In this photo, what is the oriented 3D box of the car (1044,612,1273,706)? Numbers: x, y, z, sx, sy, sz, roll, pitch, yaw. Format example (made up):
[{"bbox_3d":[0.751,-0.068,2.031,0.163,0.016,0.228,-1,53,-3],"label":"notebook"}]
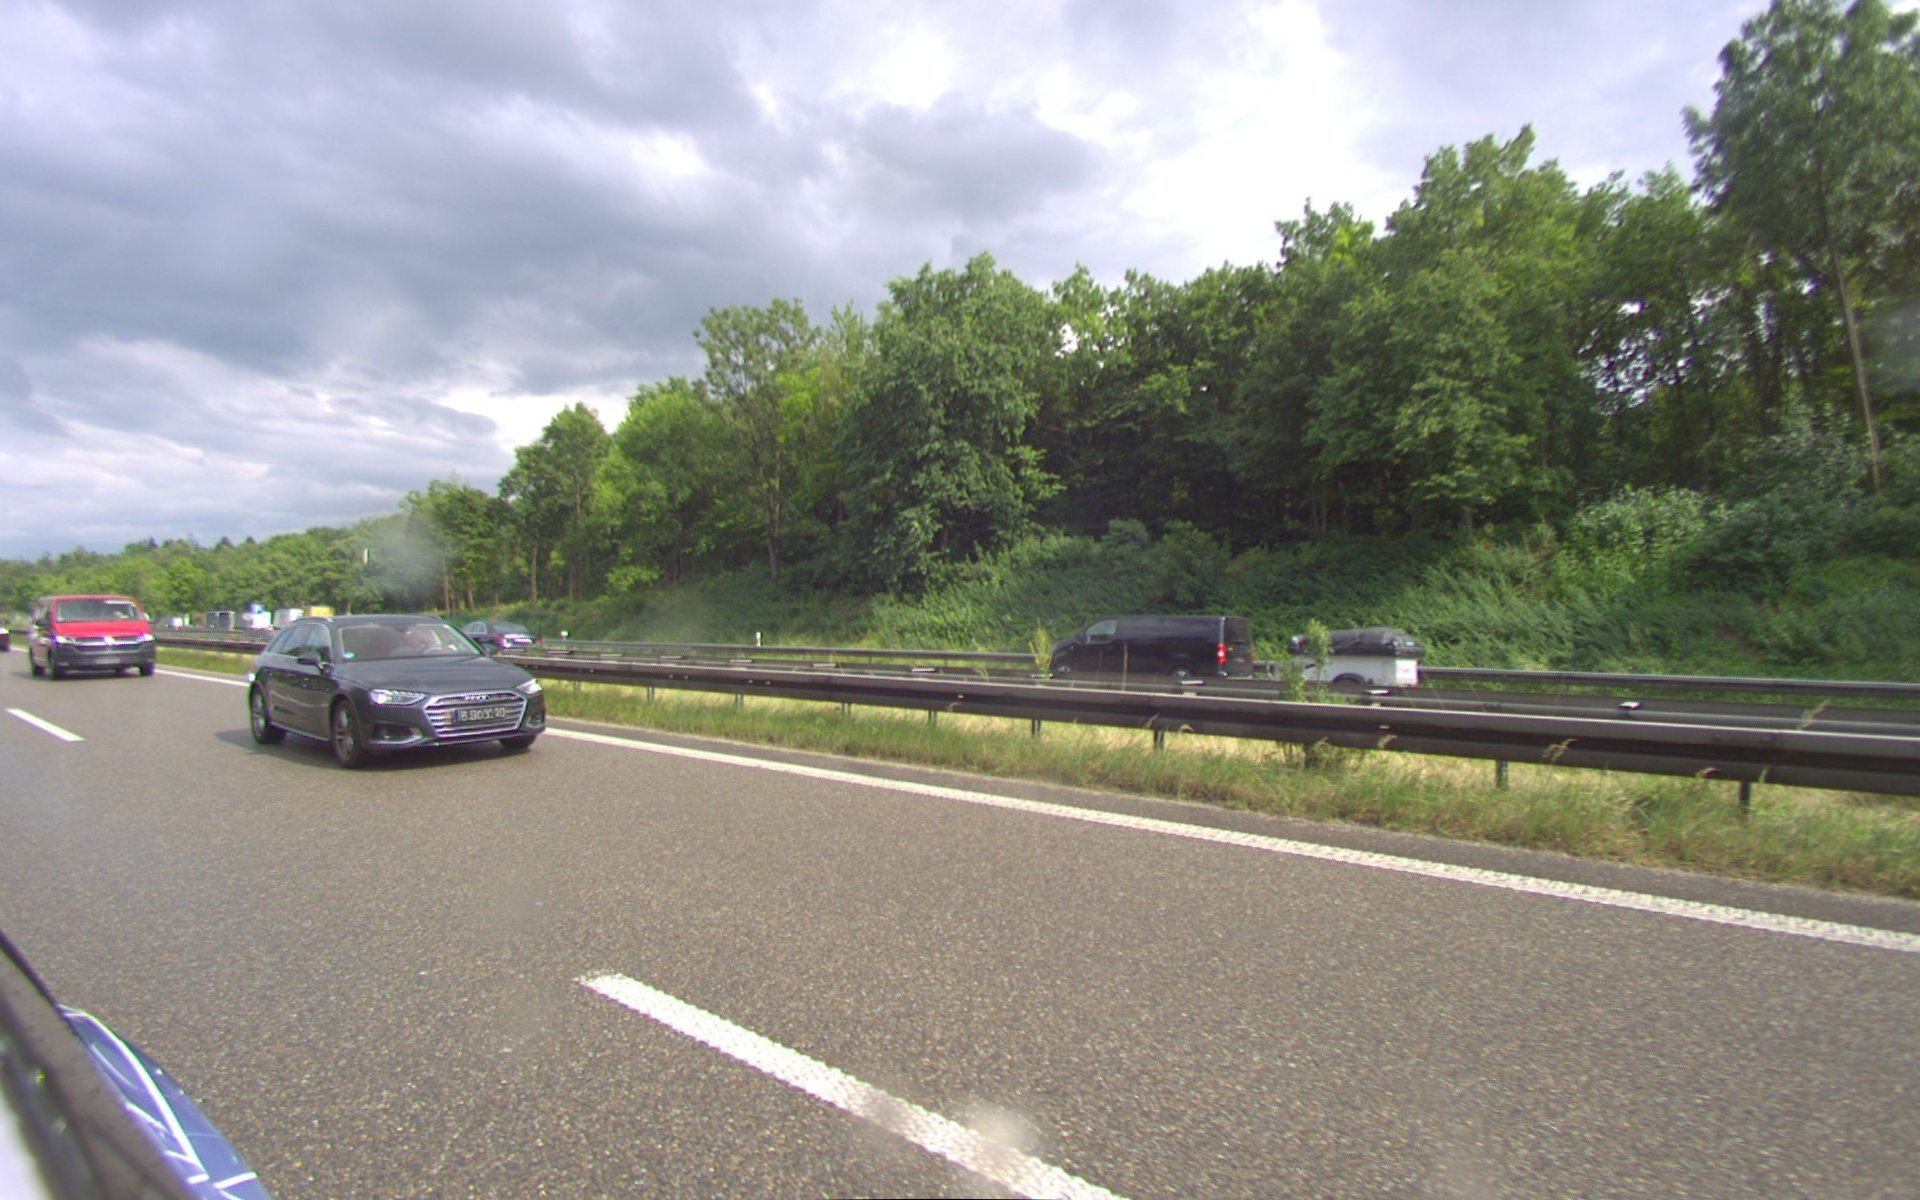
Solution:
[{"bbox_3d":[4.682,1.308,24.388,5.137,2.029,1.973,-1,0,41],"label":"car"}]

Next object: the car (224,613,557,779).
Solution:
[{"bbox_3d":[-6.253,0.874,10.872,4.464,1.422,1.702,-1,-1,40],"label":"car"}]

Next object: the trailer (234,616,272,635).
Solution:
[{"bbox_3d":[-128.076,4.626,183.206,12.172,3.217,2.987,-1,-3,42],"label":"trailer"}]

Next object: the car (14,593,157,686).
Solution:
[{"bbox_3d":[-20.947,0.889,24.181,4.747,2.000,1.871,-1,0,40],"label":"car"}]

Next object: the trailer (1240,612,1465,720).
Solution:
[{"bbox_3d":[8.193,1.275,21.304,3.998,2.029,1.973,-1,0,41],"label":"trailer"}]

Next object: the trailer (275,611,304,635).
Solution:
[{"bbox_3d":[-105.148,3.683,158.620,2.156,3.627,11.733,2,-3,-42],"label":"trailer"}]

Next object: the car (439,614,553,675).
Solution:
[{"bbox_3d":[-16.818,1.532,36.559,4.730,2.029,1.973,-1,0,41],"label":"car"}]

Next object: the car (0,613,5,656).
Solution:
[{"bbox_3d":[-39.776,1.375,40.439,4.292,1.682,1.871,-1,-1,40],"label":"car"}]

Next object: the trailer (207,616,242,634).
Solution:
[{"bbox_3d":[-141.903,4.867,195.118,12.639,3.296,2.578,-1,-3,40],"label":"trailer"}]

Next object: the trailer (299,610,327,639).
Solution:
[{"bbox_3d":[-86.742,3.208,135.564,1.967,3.723,13.688,0,0,-37],"label":"trailer"}]

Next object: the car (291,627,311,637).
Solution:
[{"bbox_3d":[-97.729,4.733,149.973,1.871,1.514,4.005,2,-3,-42],"label":"car"}]
